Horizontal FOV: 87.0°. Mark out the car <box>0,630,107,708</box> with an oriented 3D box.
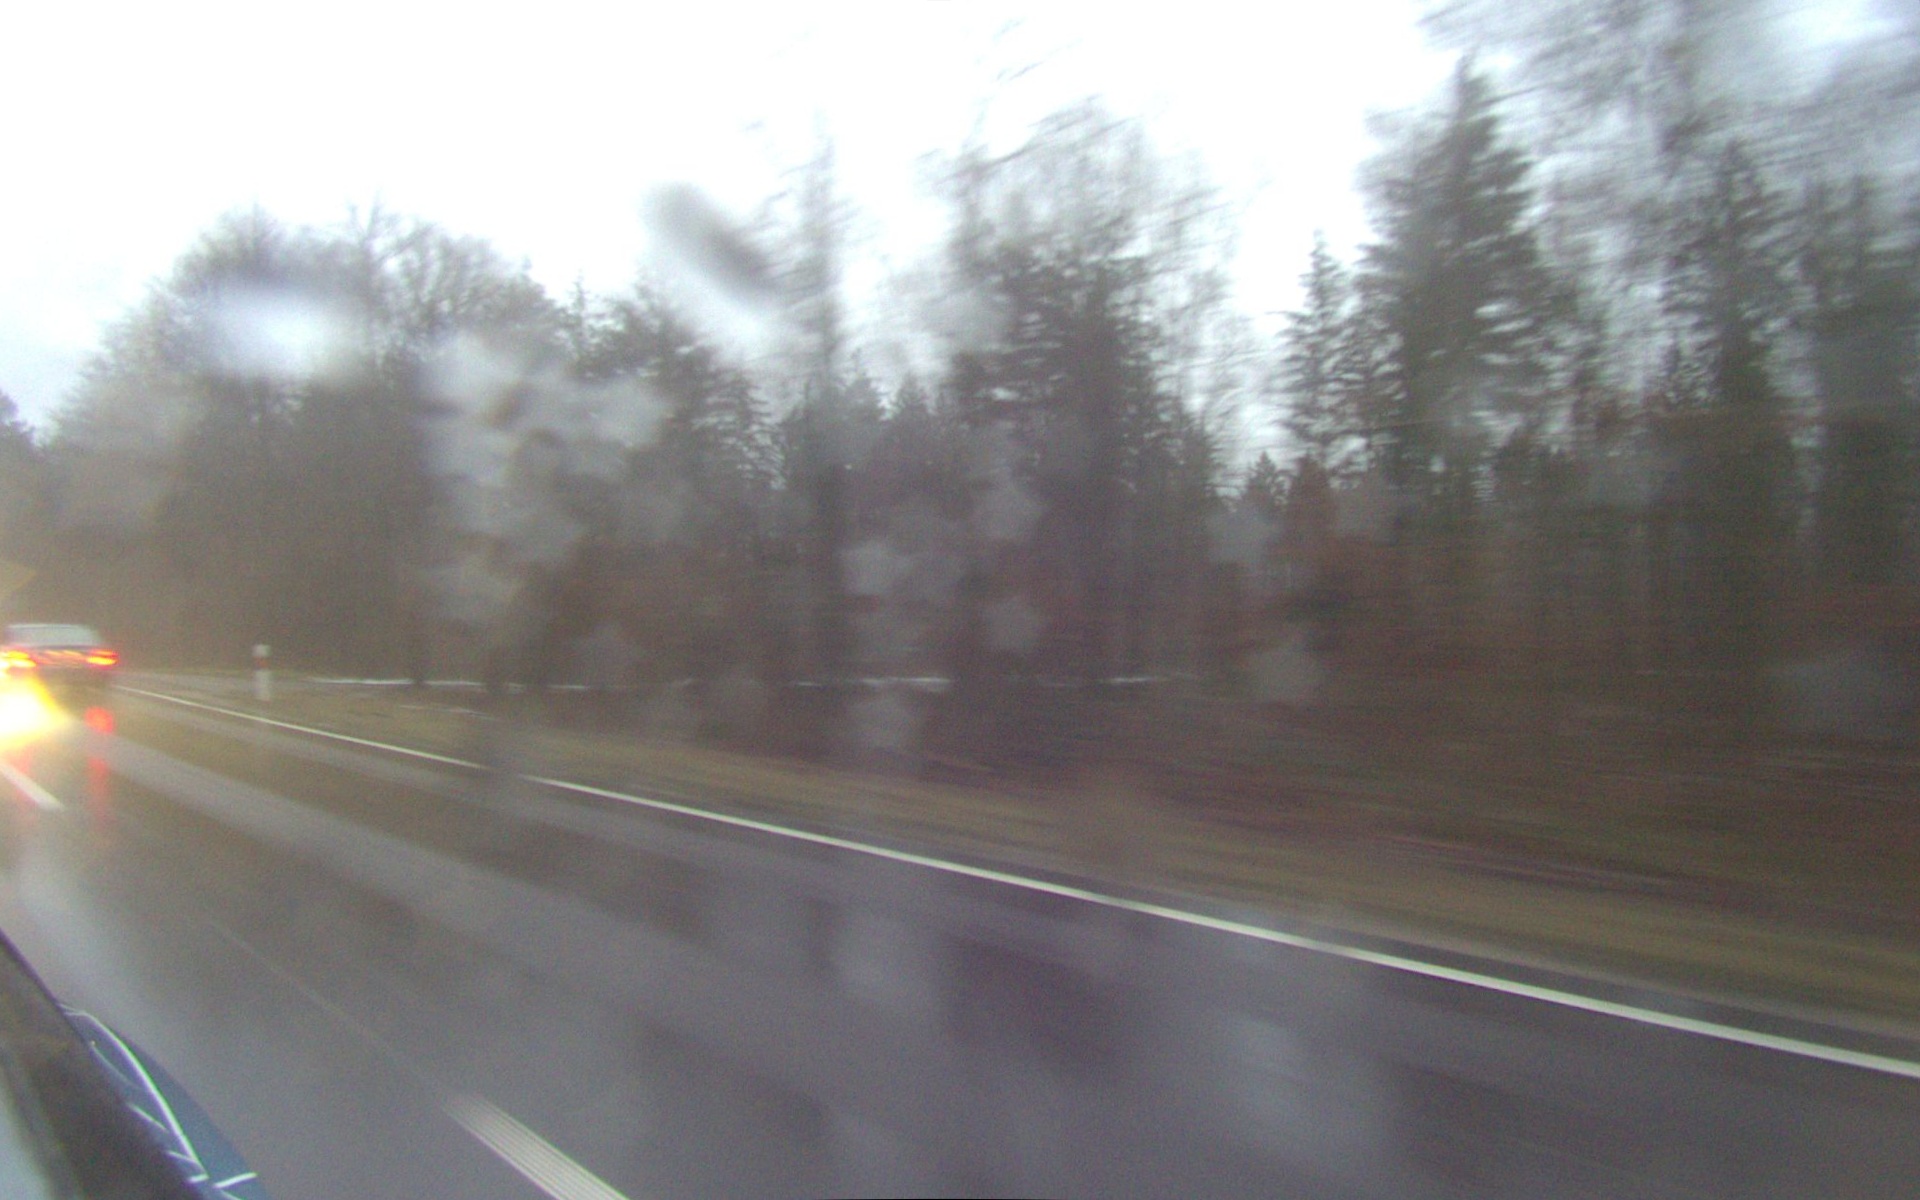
[{"bbox_3d":[-18.563,1.316,20.249,4.068,1.400,1.602,-2,-2,40],"label":"car"}]
